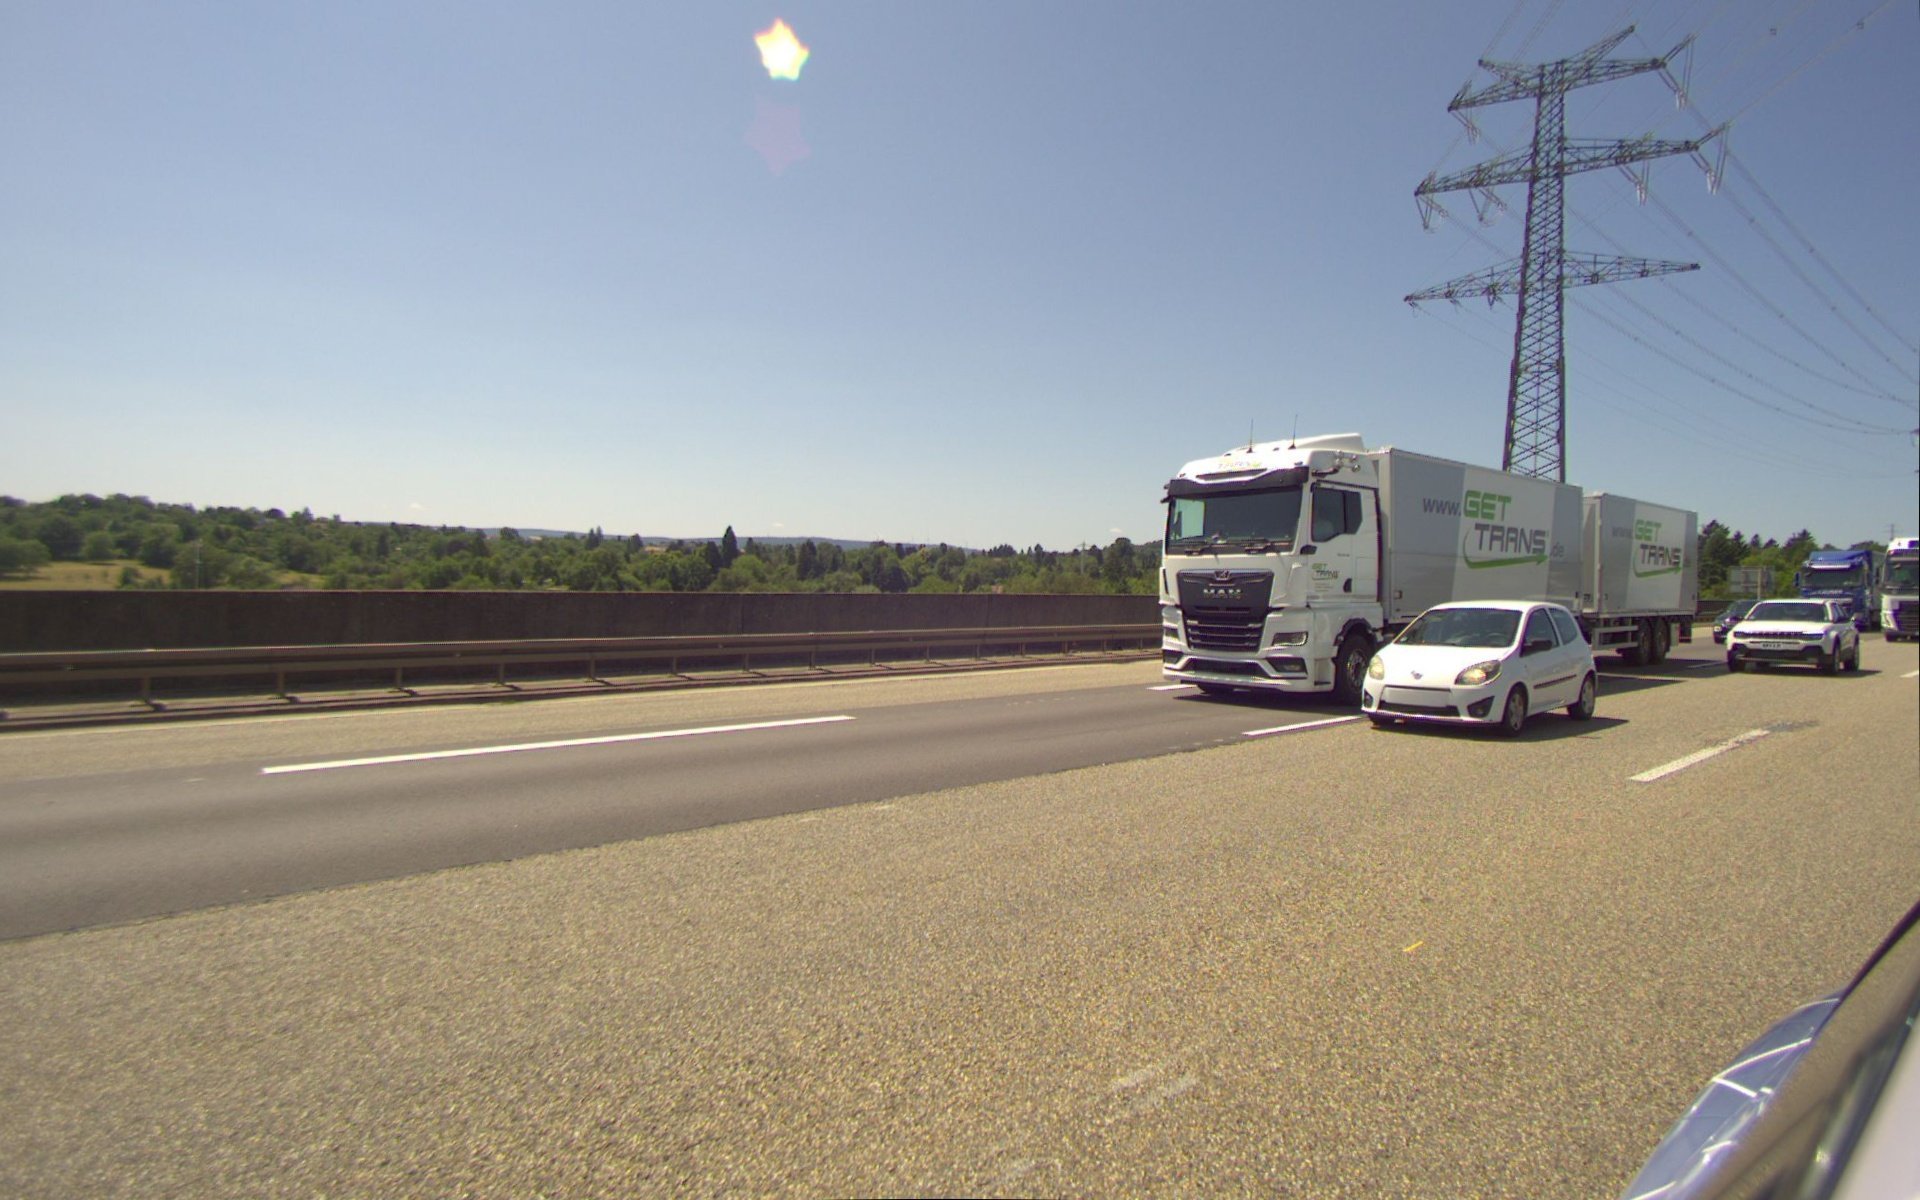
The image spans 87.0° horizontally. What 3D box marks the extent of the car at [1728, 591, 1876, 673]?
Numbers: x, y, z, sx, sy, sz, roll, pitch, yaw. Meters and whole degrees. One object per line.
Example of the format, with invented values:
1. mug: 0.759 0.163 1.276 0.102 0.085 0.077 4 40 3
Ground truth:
1. car: 17.802 0.604 21.341 3.784 1.549 1.775 -1 0 -40

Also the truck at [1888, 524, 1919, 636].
1. truck: 40.532 -0.715 40.950 14.004 4.090 2.716 0 -1 -41

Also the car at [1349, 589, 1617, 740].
1. car: 6.396 0.649 12.217 3.760 1.529 1.657 -1 0 -42

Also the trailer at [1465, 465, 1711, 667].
1. trailer: 14.822 -0.675 23.602 7.638 3.991 2.749 0 0 -41

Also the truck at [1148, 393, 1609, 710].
1. truck: 7.792 -0.626 17.399 11.101 3.980 2.693 0 0 -41

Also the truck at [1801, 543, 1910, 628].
1. truck: 45.705 -0.746 51.490 11.080 3.929 2.837 -1 0 -42

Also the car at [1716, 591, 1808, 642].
1. car: 27.625 0.524 34.816 3.931 1.598 1.819 -1 0 -41
